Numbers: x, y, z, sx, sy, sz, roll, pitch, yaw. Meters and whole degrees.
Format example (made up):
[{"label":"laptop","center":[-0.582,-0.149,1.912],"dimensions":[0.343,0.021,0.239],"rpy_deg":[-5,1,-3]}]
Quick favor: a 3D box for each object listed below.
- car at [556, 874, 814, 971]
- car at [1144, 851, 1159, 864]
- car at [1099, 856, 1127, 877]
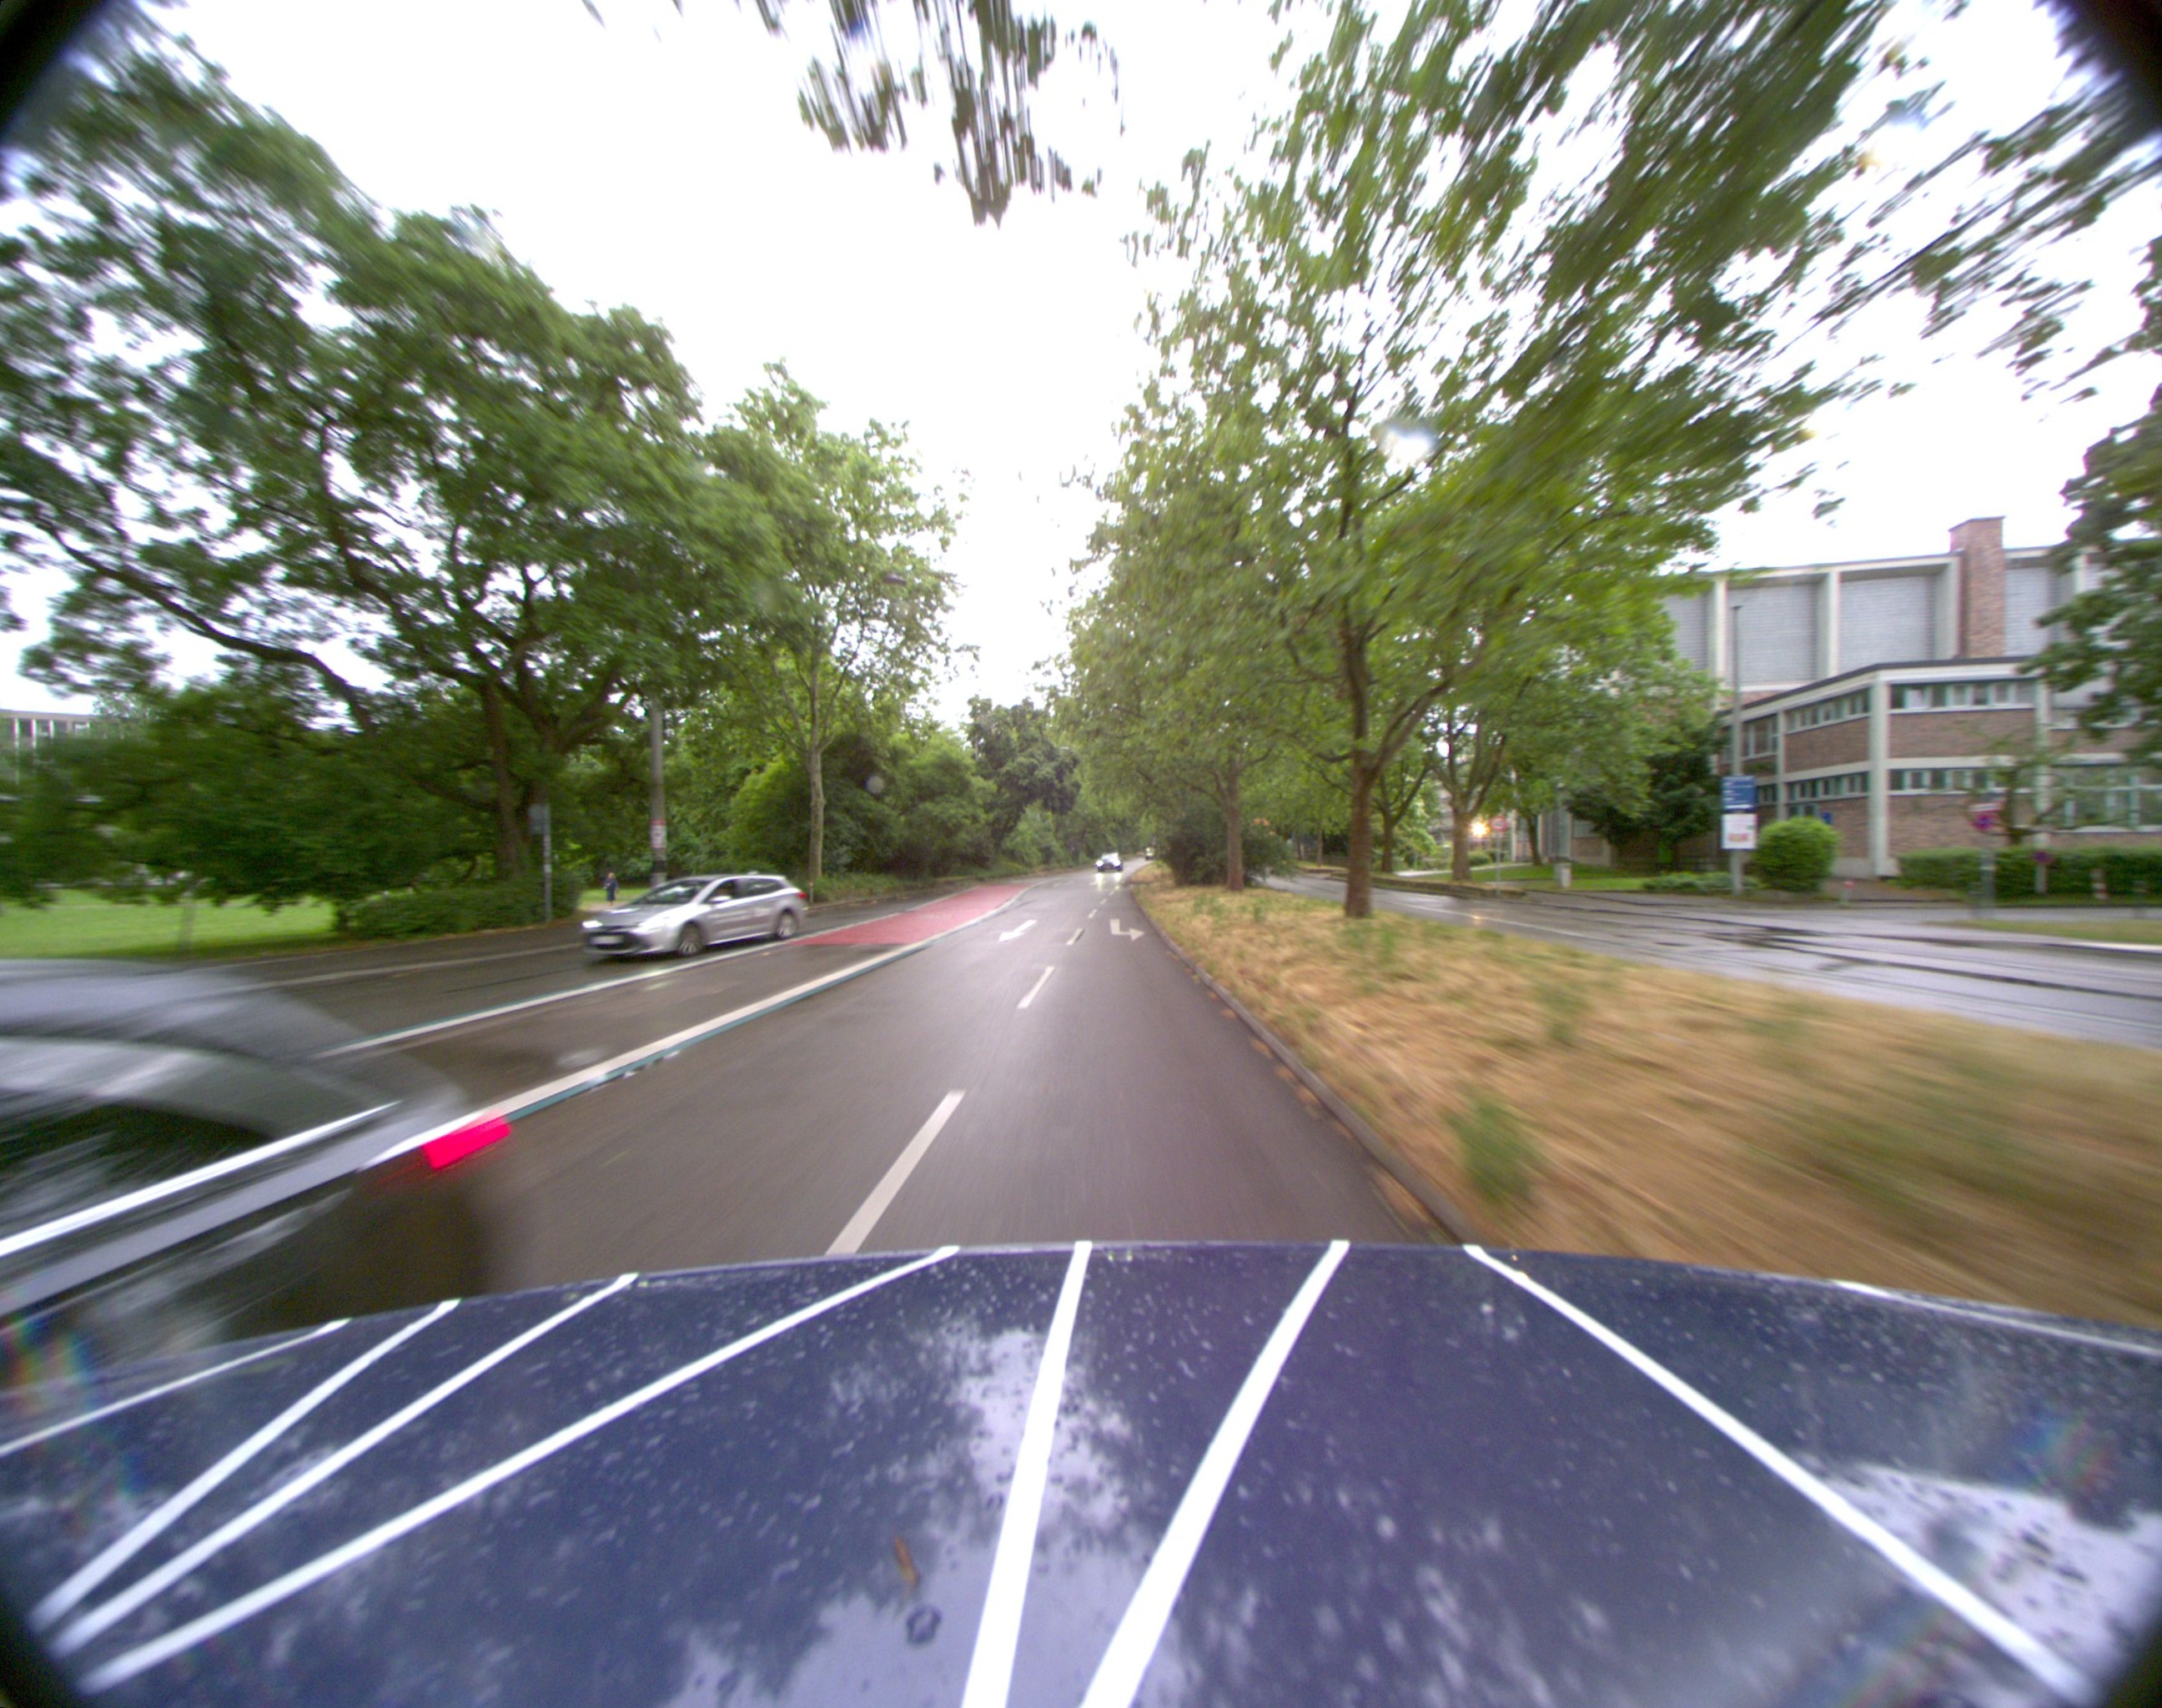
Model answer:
[{"label":"car","center":[-7.372,1.197,14.764],"dimensions":[1.864,1.441,4.409],"rpy_deg":[-1,0,17]},{"label":"car","center":[10.742,0.532,115.000],"dimensions":[1.883,1.865,4.745],"rpy_deg":[-1,0,9]},{"label":"car","center":[2.819,1.080,66.482],"dimensions":[1.832,1.599,4.579],"rpy_deg":[-2,1,10]}]
